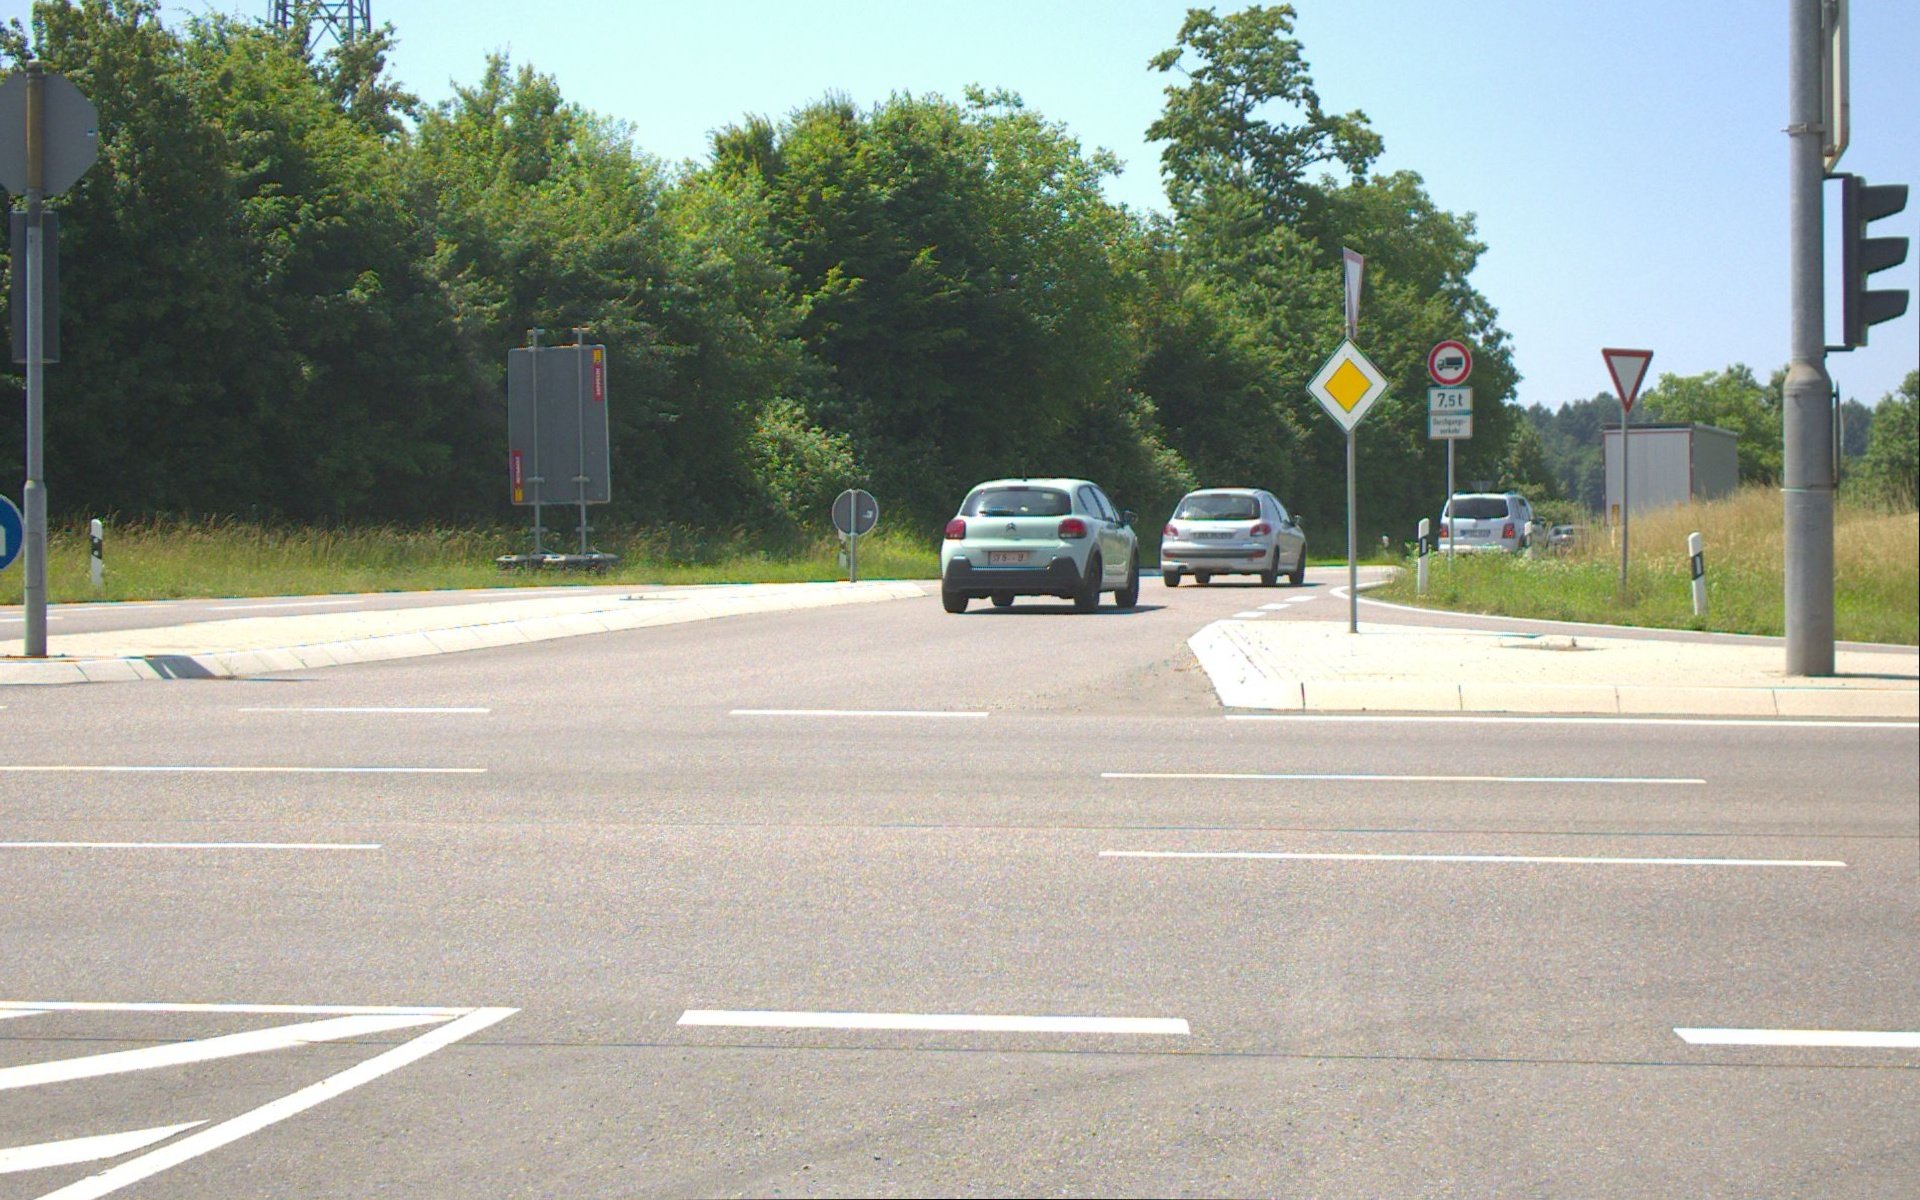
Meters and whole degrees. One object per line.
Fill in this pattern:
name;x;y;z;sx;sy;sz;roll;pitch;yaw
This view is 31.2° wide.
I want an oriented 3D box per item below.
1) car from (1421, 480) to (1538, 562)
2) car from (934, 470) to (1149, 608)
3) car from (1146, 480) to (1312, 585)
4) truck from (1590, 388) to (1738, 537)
car;10.947;-1.677;72.279;1.814;1.619;4.057;0;3;18
car;0.976;-0.734;38.823;1.730;1.399;3.985;2;3;11
car;3.981;-1.017;50.366;1.814;1.408;3.781;1;3;14
truck;21.602;-4.088;104.759;3.128;4.158;16.675;1;2;16
